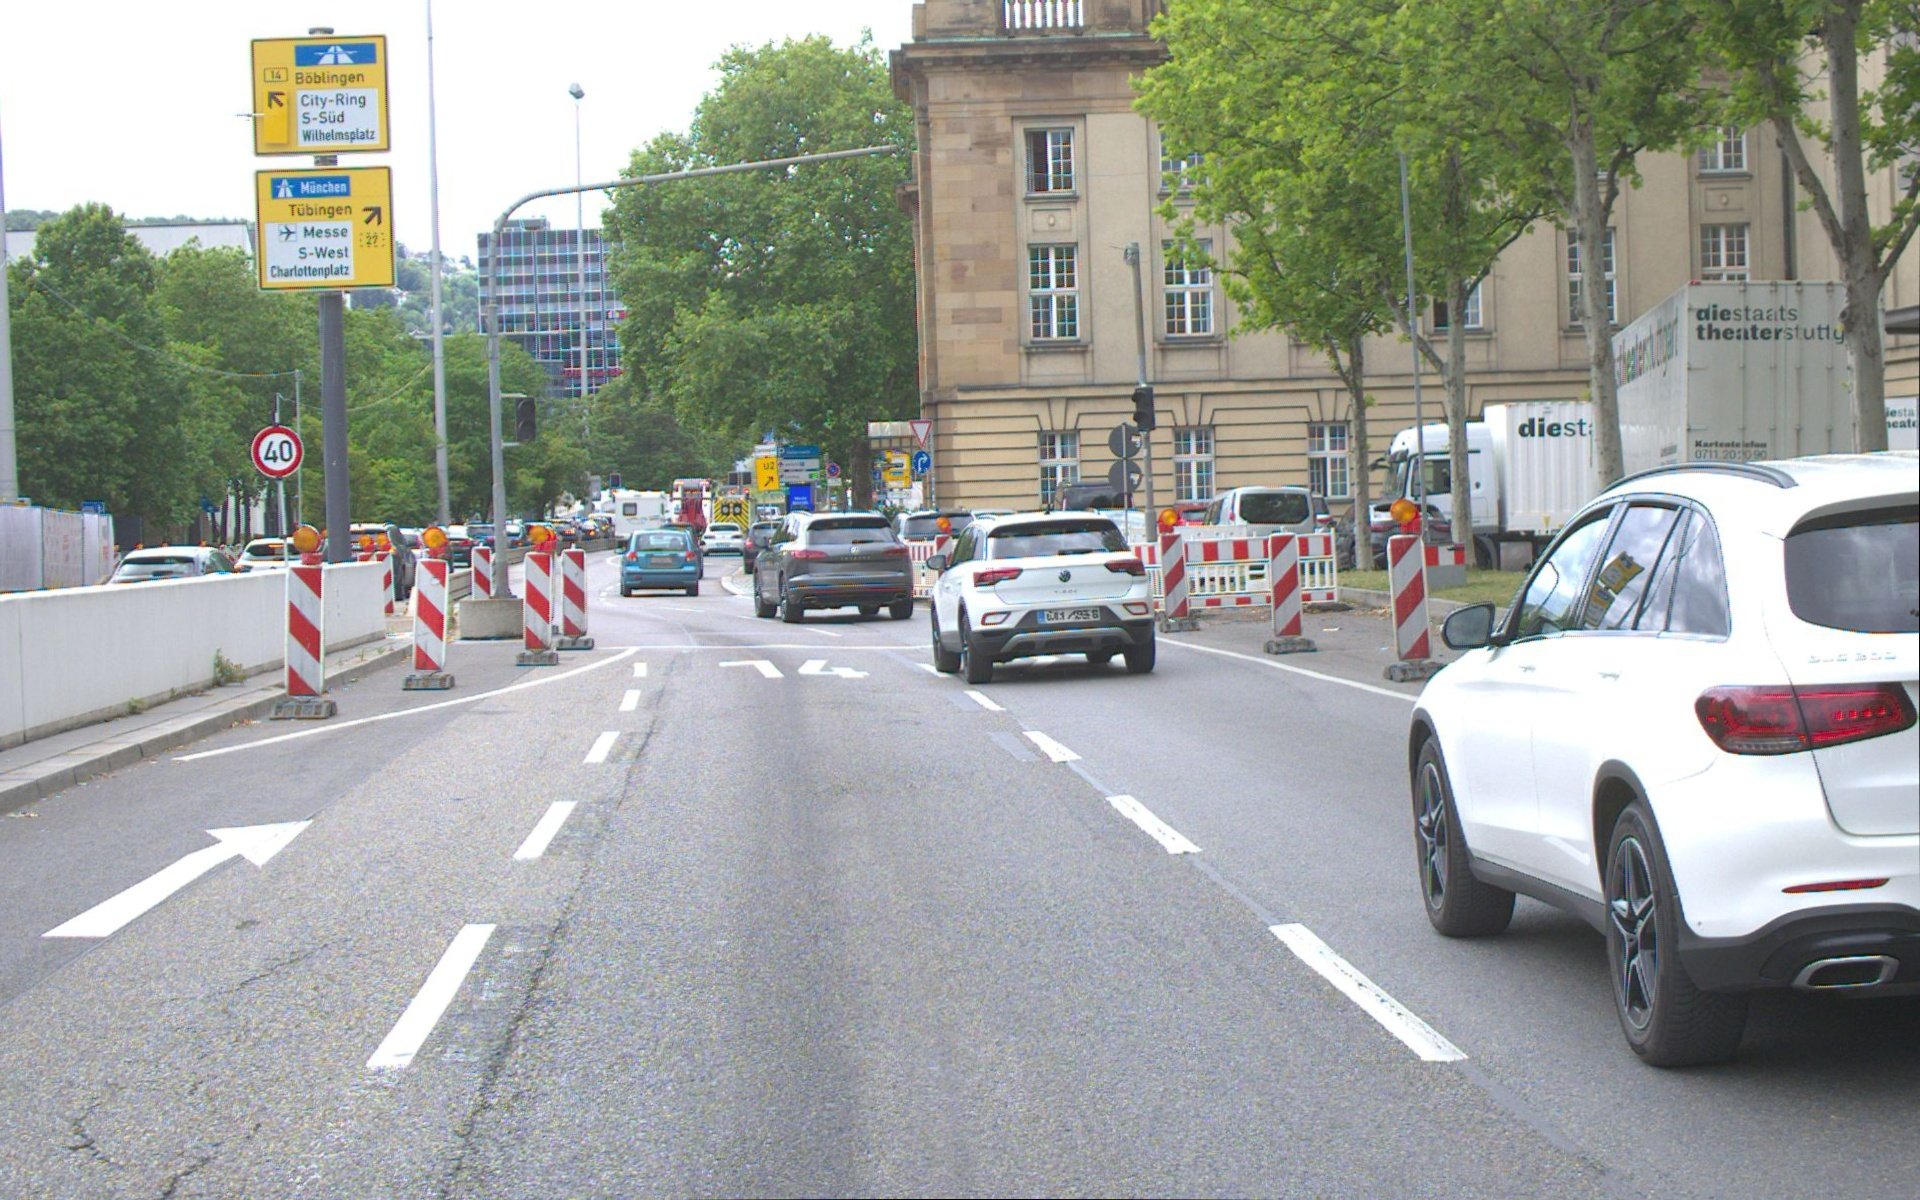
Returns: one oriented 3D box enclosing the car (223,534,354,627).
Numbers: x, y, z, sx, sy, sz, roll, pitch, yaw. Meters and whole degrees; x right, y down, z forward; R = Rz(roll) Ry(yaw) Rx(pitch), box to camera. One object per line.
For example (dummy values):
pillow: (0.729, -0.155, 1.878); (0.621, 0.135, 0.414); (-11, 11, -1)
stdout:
car: (-12.049, -0.375, 61.865); (1.750, 1.562, 3.377); (-1, 1, -2)

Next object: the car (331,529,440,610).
car: (-12.213, -0.670, 73.282); (1.750, 1.562, 3.377); (-4, 1, -2)

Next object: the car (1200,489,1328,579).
car: (5.552, -1.195, 63.210); (1.750, 1.562, 4.332); (-2, 1, -3)

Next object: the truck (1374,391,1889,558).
truck: (13.814, -2.569, 71.164); (10.029, 3.040, 2.569); (-2, 1, -2)

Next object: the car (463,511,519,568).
car: (-18.460, -2.400, 135.489); (1.993, 2.006, 4.001); (-2, 3, -6)

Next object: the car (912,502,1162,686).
car: (0.679, -0.107, 33.466); (1.750, 1.562, 4.332); (-4, 2, -7)

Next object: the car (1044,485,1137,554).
car: (3.138, -1.928, 83.260); (1.856, 1.562, 4.332); (-2, 1, -3)

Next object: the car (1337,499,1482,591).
car: (8.160, -0.995, 62.786); (1.856, 1.562, 4.332); (-2, 1, -3)

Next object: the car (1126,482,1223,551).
car: (5.191, -2.011, 83.669); (1.856, 1.562, 4.332); (-2, 1, -3)

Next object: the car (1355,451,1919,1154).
car: (2.571, 0.401, 10.667); (1.811, 1.637, 4.553); (-4, 2, -3)

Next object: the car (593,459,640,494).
car: (-24.819, -8.915, 248.529); (2.582, 2.366, 5.527); (-2, 2, 1)

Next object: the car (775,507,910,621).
car: (-1.851, -0.594, 52.937); (1.823, 1.562, 4.481); (0, 3, -5)

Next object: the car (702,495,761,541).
car: (-12.478, -4.487, 188.118); (2.582, 2.366, 5.527); (-2, 2, 1)

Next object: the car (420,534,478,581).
car: (-17.999, -1.506, 121.195); (1.750, 1.562, 4.332); (-2, 1, -6)

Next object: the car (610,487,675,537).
car: (-16.081, -4.468, 174.414); (2.582, 2.366, 5.527); (-2, 2, 1)

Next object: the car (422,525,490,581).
car: (-14.893, -1.393, 101.654); (1.750, 1.562, 4.332); (-2, 1, -6)

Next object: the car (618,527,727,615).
car: (-6.266, -0.661, 75.460); (1.823, 1.734, 4.480); (-2, 2, 2)

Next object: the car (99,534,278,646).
car: (-11.618, -0.186, 52.008); (1.750, 1.562, 4.332); (-2, 1, -1)
